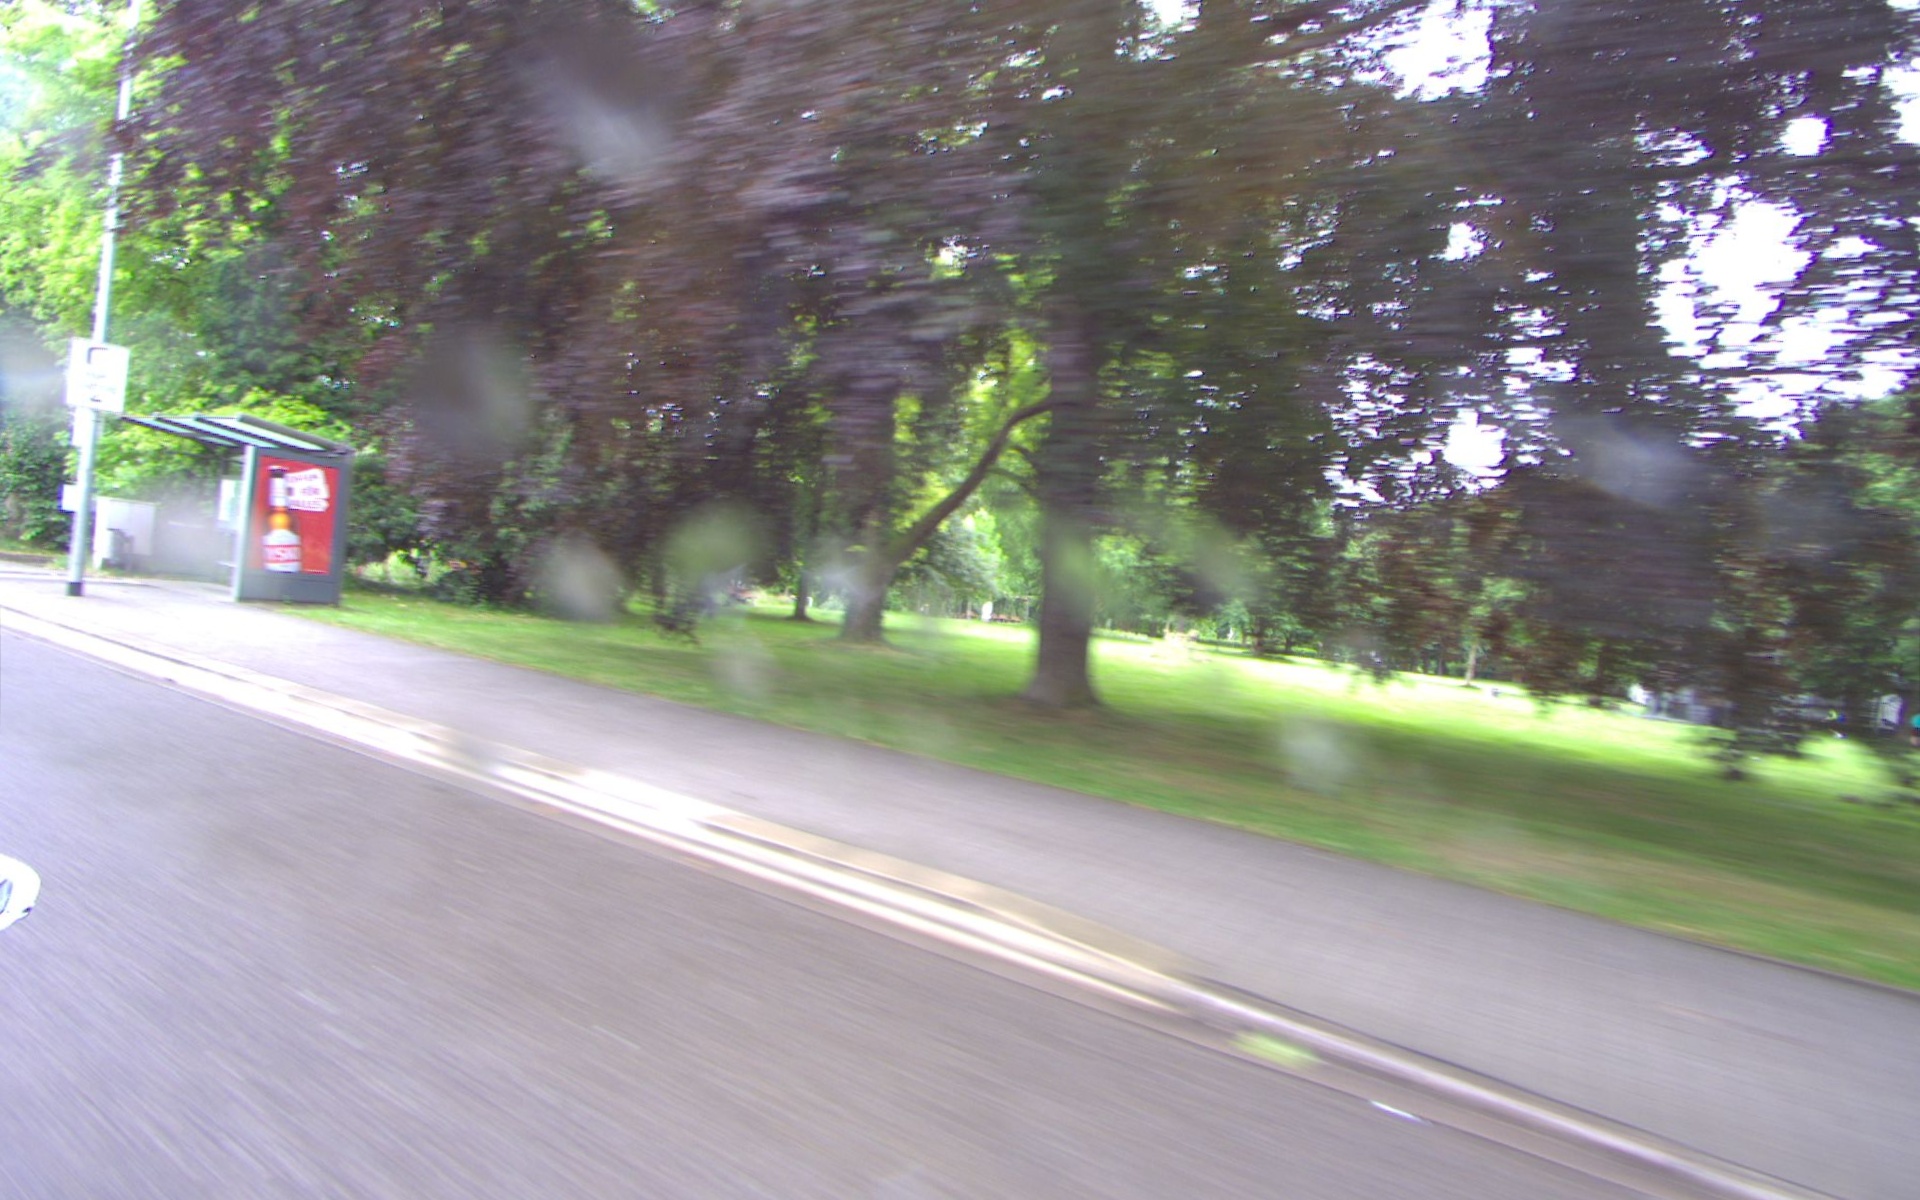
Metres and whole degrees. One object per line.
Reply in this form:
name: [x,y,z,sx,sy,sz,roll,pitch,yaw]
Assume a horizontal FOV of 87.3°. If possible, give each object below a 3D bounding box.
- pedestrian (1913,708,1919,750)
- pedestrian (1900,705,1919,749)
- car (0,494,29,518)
pedestrian: [41.968,5.613,43.325,0.842,1.783,0.841,7,-2,-2]
pedestrian: [41.088,5.477,43.034,0.845,1.783,0.838,8,-2,-17]
car: [-65.116,-6.483,66.812,1.782,1.393,4.455,9,0,15]
